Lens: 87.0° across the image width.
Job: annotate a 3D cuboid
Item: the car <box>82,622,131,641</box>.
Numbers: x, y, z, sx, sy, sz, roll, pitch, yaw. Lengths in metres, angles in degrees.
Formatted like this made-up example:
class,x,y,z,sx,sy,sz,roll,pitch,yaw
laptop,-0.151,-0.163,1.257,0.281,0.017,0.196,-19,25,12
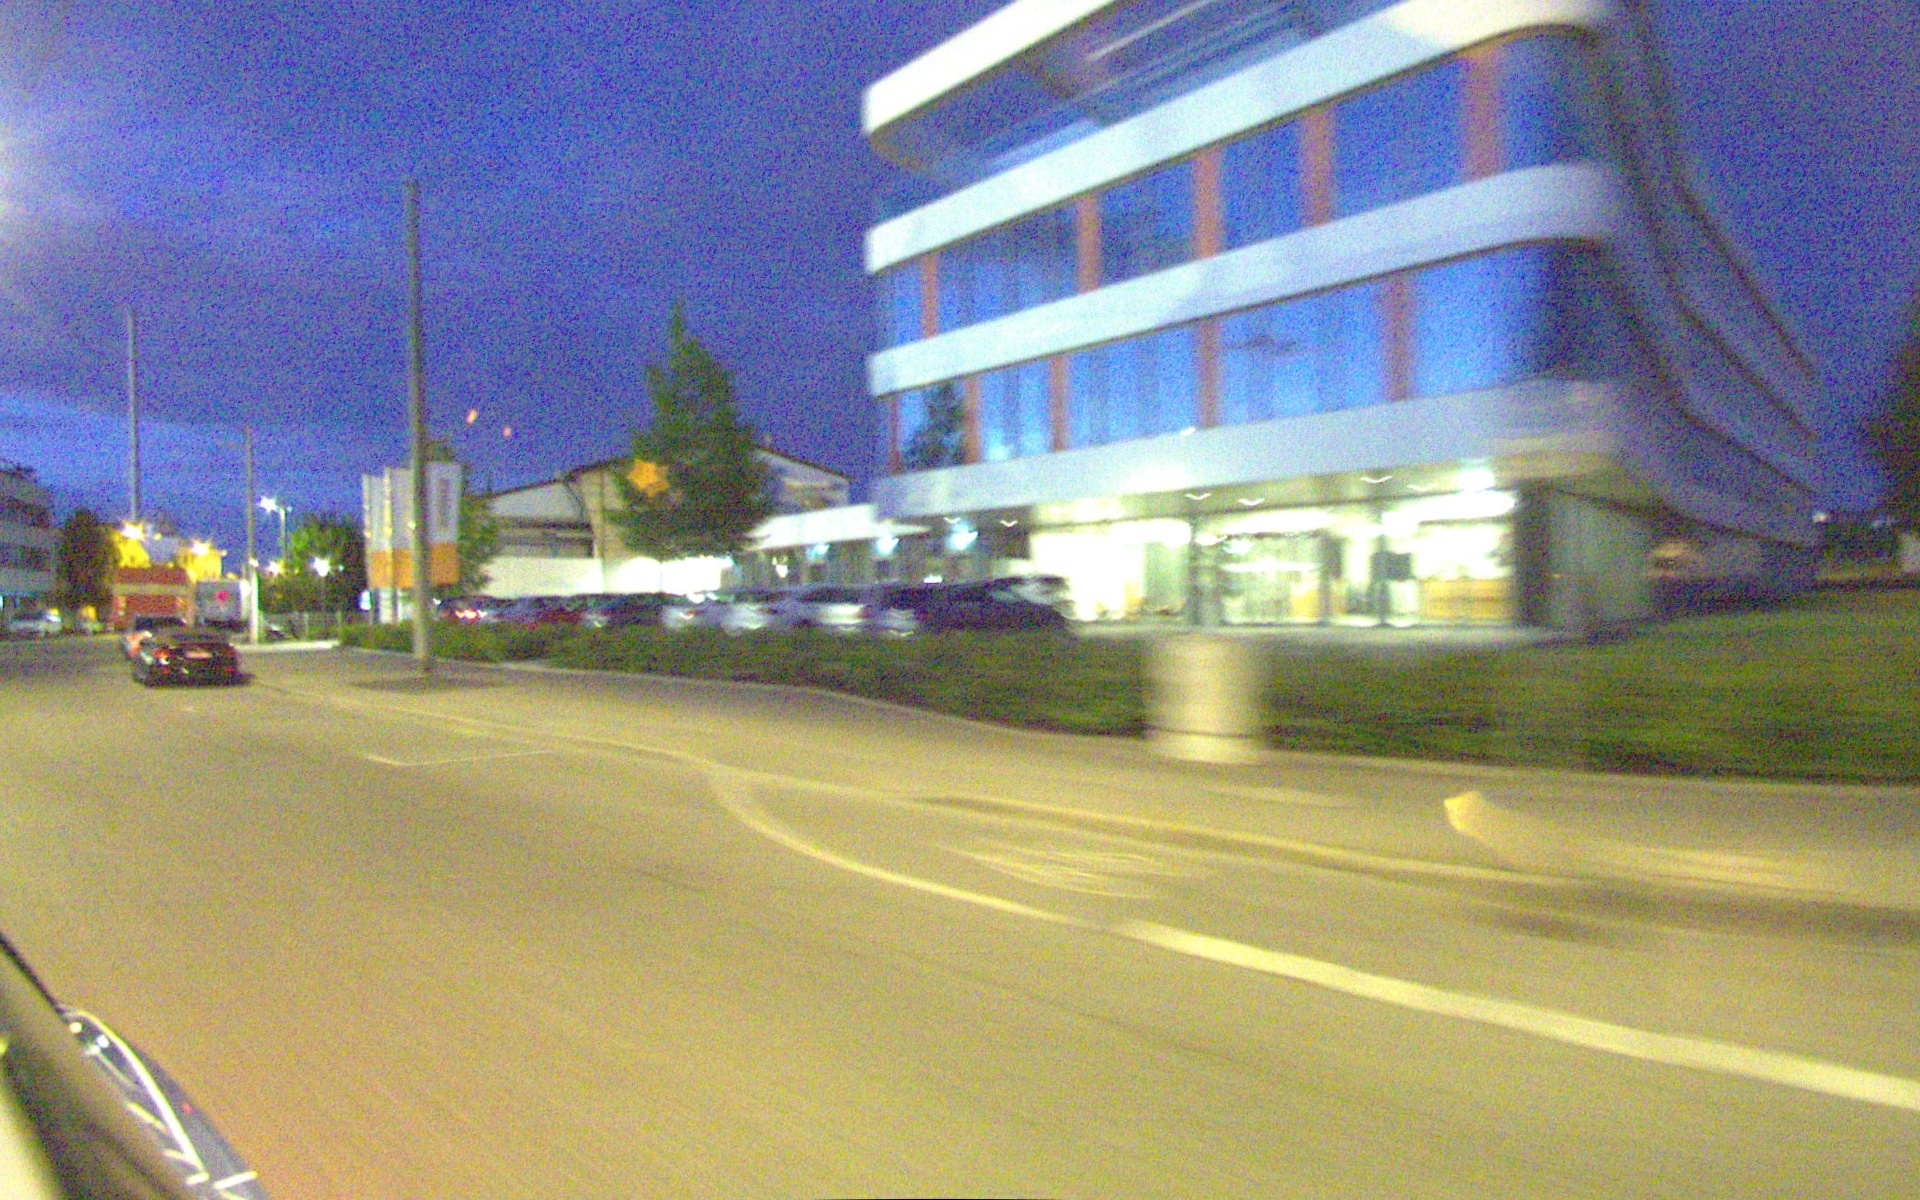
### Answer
class,x,y,z,sx,sy,sz,roll,pitch,yaw
car,-71.782,2.619,85.221,1.919,1.500,5.026,-1,0,-26

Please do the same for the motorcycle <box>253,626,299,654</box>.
class,x,y,z,sx,sy,sz,roll,pitch,yaw
motorcycle,-31.002,1.814,45.902,0.528,1.109,1.680,-1,3,23

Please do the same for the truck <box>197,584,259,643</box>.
class,x,y,z,sx,sy,sz,roll,pitch,yaw
truck,-54.468,1.005,75.508,2.708,4.064,9.589,-2,0,-30

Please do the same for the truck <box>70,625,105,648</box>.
class,x,y,z,sx,sy,sz,roll,pitch,yaw
truck,-69.812,2.908,81.033,1.351,1.657,3.824,-1,0,-29

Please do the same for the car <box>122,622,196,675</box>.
class,x,y,z,sx,sy,sz,roll,pitch,yaw
car,-27.314,1.591,34.489,1.843,1.605,4.502,-1,0,-39

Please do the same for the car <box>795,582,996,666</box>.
class,x,y,z,sx,sy,sz,roll,pitch,yaw
car,-1.300,0.455,21.617,1.842,1.591,4.085,-2,0,45

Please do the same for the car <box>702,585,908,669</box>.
class,x,y,z,sx,sy,sz,roll,pitch,yaw
car,-3.456,0.560,23.162,1.963,1.693,4.356,-2,0,43

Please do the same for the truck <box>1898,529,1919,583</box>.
class,x,y,z,sx,sy,sz,roll,pitch,yaw
truck,65.652,-3.014,65.457,3.339,3.645,9.640,-2,0,18

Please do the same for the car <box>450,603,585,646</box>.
class,x,y,z,sx,sy,sz,roll,pitch,yaw
car,-16.775,0.898,38.491,1.829,1.463,4.354,-2,0,45

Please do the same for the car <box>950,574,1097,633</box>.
class,x,y,z,sx,sy,sz,roll,pitch,yaw
car,1.864,0.129,30.684,1.970,1.654,4.206,-3,1,-44

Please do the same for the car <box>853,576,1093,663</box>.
class,x,y,z,sx,sy,sz,roll,pitch,yaw
car,0.338,0.323,19.619,4.395,1.463,2.064,-2,0,-42

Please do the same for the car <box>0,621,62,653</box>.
class,x,y,z,sx,sy,sz,roll,pitch,yaw
car,-62.657,2.449,68.293,1.965,2.029,4.927,-1,0,-28

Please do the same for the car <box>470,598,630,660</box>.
class,x,y,z,sx,sy,sz,roll,pitch,yaw
car,-13.714,0.929,34.022,1.963,1.829,4.555,-2,0,45

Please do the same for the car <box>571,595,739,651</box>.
class,x,y,z,sx,sy,sz,roll,pitch,yaw
car,-8.640,0.617,28.893,1.829,1.404,4.218,-1,1,45

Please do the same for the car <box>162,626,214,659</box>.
class,x,y,z,sx,sy,sz,roll,pitch,yaw
car,-45.142,2.457,59.268,1.917,1.730,5.213,-1,0,-32

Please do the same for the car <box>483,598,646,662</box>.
class,x,y,z,sx,sy,sz,roll,pitch,yaw
car,-12.376,0.879,31.862,1.963,1.829,4.354,-2,0,45

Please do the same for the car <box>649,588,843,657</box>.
class,x,y,z,sx,sy,sz,roll,pitch,yaw
car,-5.191,0.500,24.910,1.852,1.490,4.354,-2,0,45

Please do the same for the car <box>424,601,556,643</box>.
class,x,y,z,sx,sy,sz,roll,pitch,yaw
car,-18.550,0.846,40.086,1.893,1.493,4.354,-2,0,45

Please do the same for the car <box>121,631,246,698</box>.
class,x,y,z,sx,sy,sz,roll,pitch,yaw
car,-18.625,1.472,24.193,4.362,1.382,1.794,-2,-1,44

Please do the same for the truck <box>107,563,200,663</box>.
class,x,y,z,sx,sy,sz,roll,pitch,yaw
truck,-36.993,0.580,46.670,2.735,4.151,9.364,-1,0,-35
